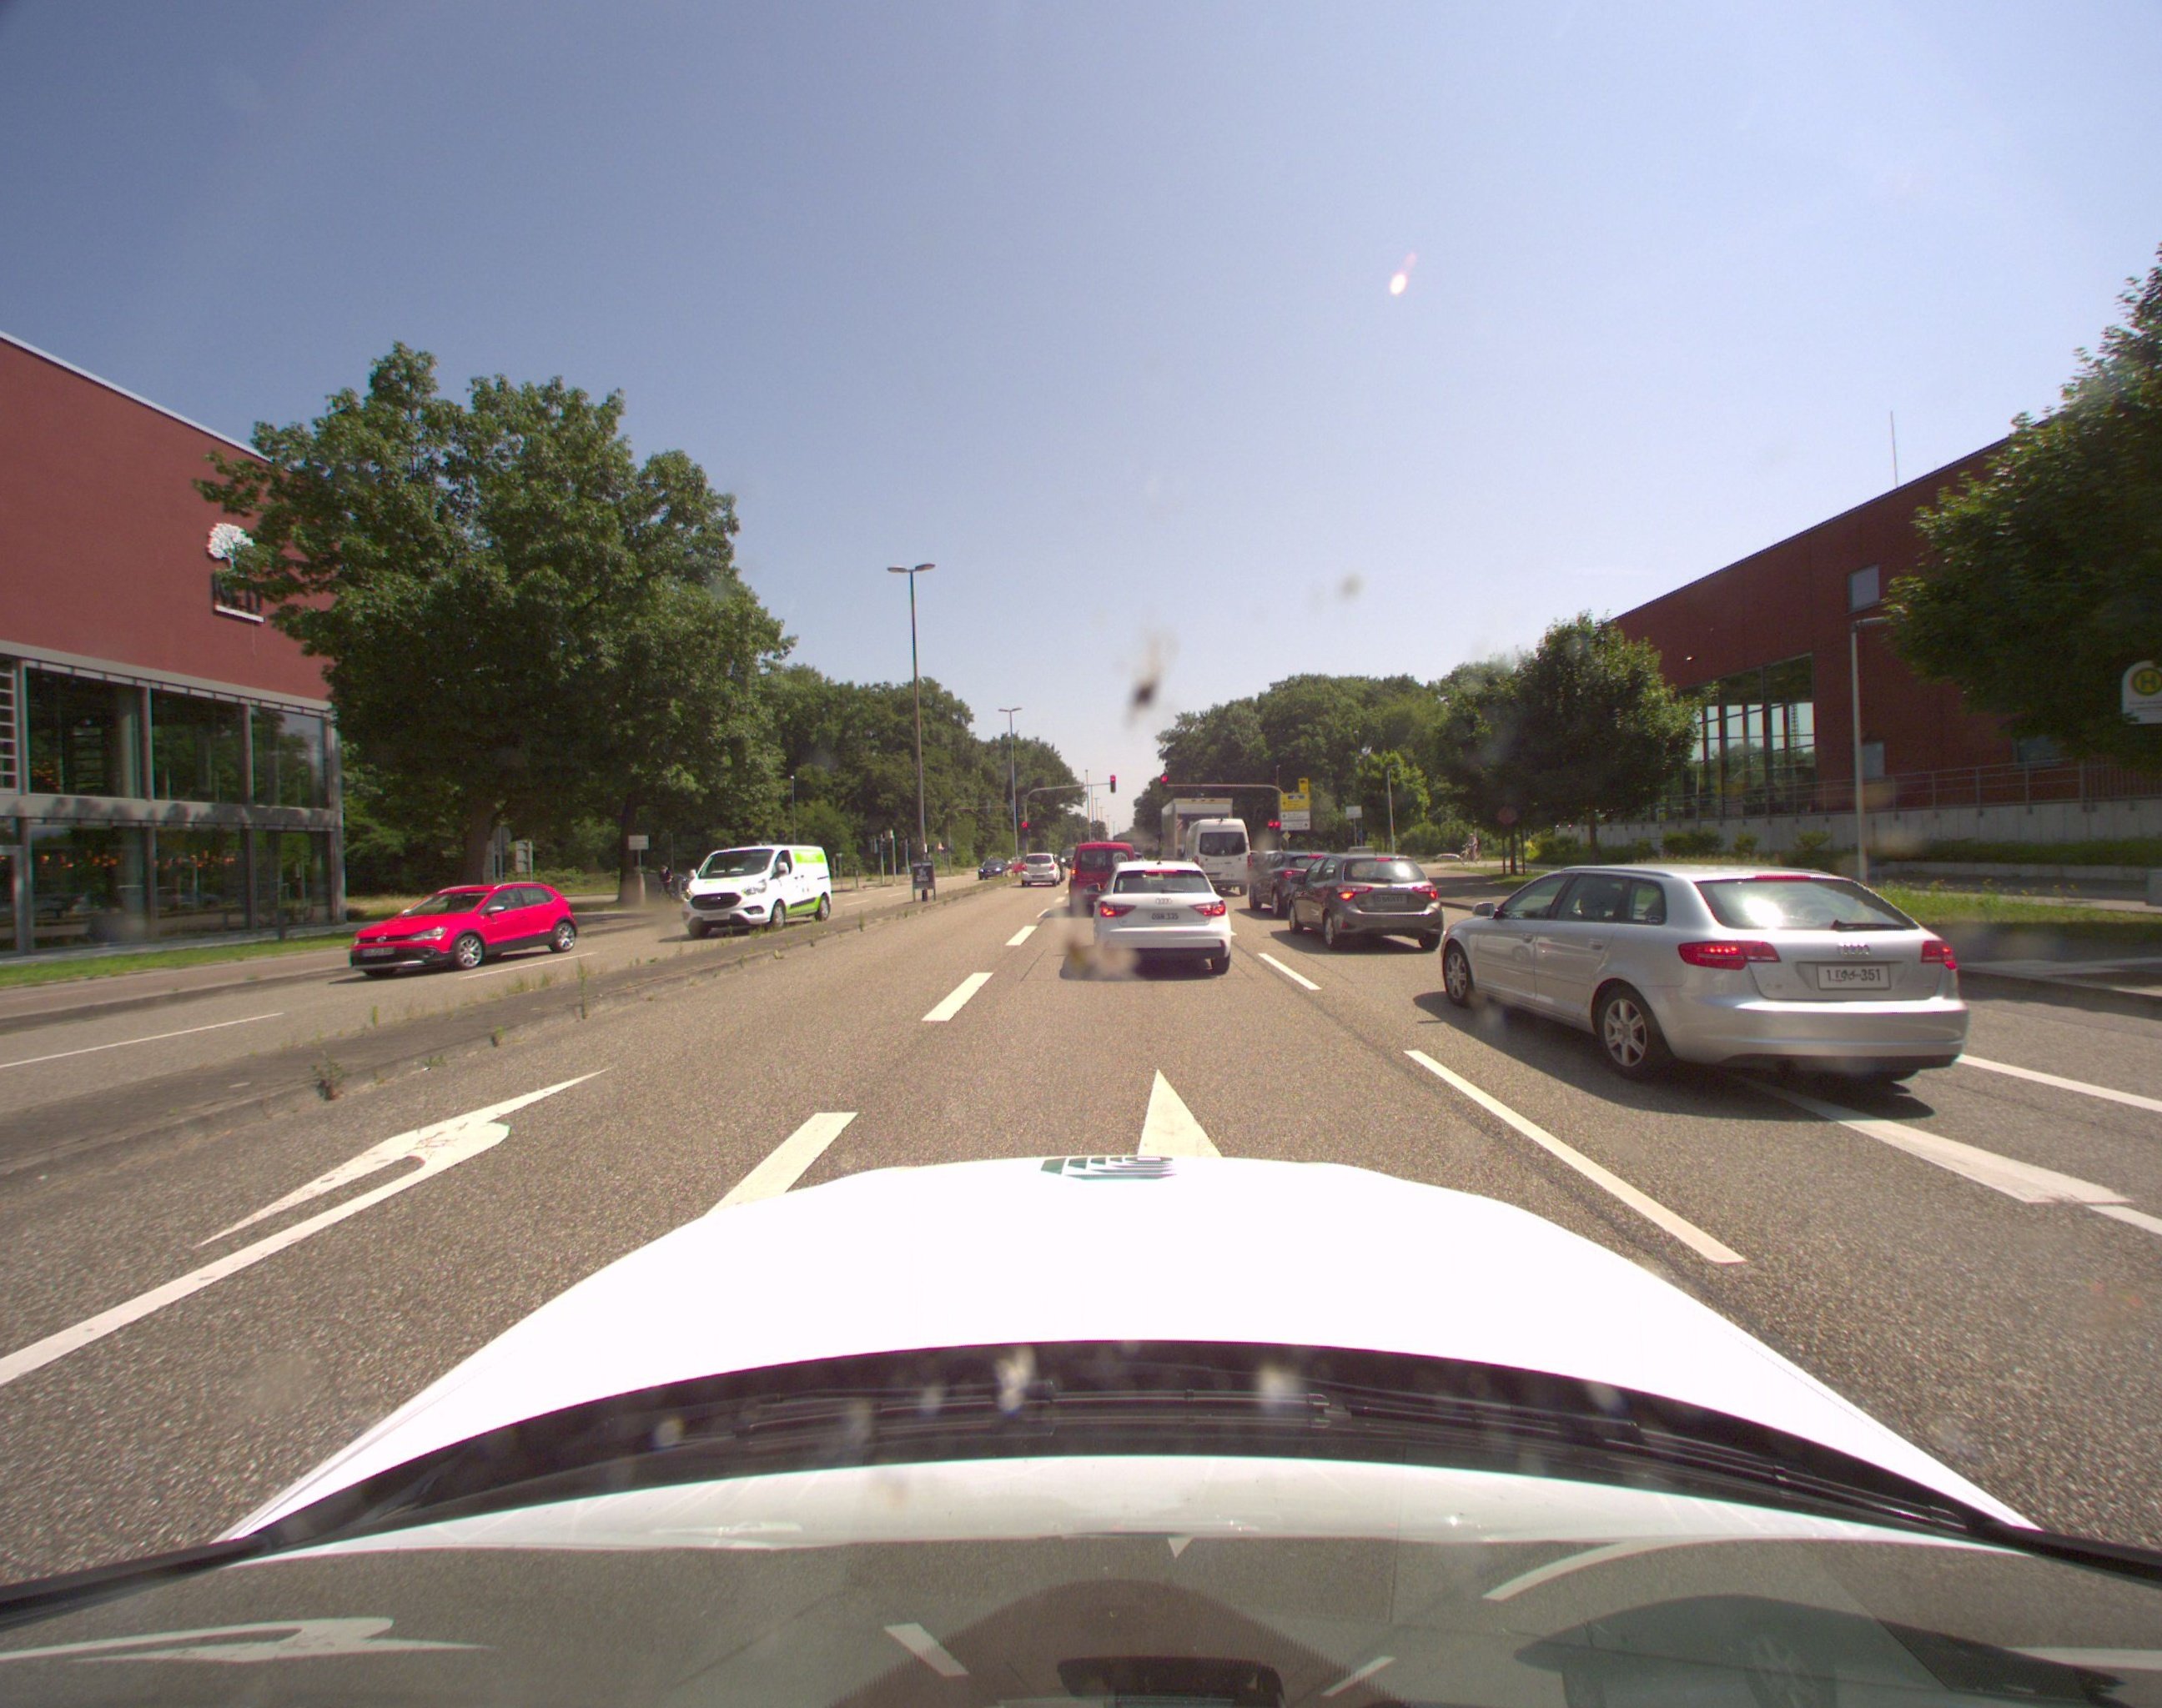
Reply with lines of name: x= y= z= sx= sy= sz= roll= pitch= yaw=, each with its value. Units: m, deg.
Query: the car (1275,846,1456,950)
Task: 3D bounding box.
car: x=4.654 y=0.643 z=13.971 sx=1.706 sy=1.478 sz=4.092 roll=2 pitch=0 yaw=1

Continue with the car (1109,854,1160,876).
car: x=4.537 y=0.919 z=68.915 sx=3.949 sy=1.689 sz=1.890 roll=-2 pitch=0 yaw=42

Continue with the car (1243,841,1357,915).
car: x=5.208 y=0.530 z=19.887 sx=1.706 sy=1.593 sz=4.092 roll=-1 pitch=0 yaw=1

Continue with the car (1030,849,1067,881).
car: x=-1.759 y=0.581 z=44.603 sx=1.768 sy=1.641 sz=4.037 roll=-1 pitch=0 yaw=1

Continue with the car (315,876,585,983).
car: x=-11.253 y=1.255 z=14.937 sx=1.699 sy=1.452 sz=3.893 roll=-5 pitch=0 yaw=2

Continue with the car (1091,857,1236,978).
car: x=1.017 y=0.757 z=11.733 sx=1.706 sy=1.386 sz=4.092 roll=-1 pitch=0 yaw=1

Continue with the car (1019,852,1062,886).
car: x=-1.861 y=0.677 z=38.523 sx=1.706 sy=1.492 sz=4.092 roll=-1 pitch=0 yaw=1

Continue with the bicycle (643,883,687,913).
bicycle: x=-16.316 y=1.719 z=32.010 sx=0.652 sy=1.051 sz=1.886 roll=-2 pitch=0 yaw=2

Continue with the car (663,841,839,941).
car: x=-7.622 y=0.760 z=19.464 sx=1.986 sy=1.945 sz=4.909 roll=-4 pitch=0 yaw=1

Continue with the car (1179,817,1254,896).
car: x=4.861 y=0.084 z=29.825 sx=2.023 sy=2.644 sz=4.847 roll=-1 pitch=0 yaw=2

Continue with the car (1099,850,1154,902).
car: x=1.488 y=0.699 z=27.957 sx=1.706 sy=1.631 sz=4.092 roll=-1 pitch=0 yaw=1

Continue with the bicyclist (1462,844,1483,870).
bicyclist: x=22.033 y=0.162 z=45.867 sx=0.828 sy=1.439 sz=0.596 roll=-2 pitch=0 yaw=-15

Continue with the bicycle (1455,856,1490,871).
bicycle: x=22.060 y=0.506 z=45.880 sx=1.826 sy=0.766 sz=0.597 roll=-2 pitch=0 yaw=-17

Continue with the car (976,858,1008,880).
car: x=-6.245 y=1.008 z=57.787 sx=1.673 sy=1.339 sz=4.000 roll=-5 pitch=0 yaw=1

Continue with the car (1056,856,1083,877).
car: x=-1.177 y=1.225 z=81.616 sx=1.994 sy=2.013 sz=3.985 roll=-2 pitch=0 yaw=-11

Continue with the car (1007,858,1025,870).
car: x=-8.118 y=1.244 z=102.691 sx=1.711 sy=1.262 sz=4.303 roll=-4 pitch=0 yaw=2

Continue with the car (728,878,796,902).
car: x=-23.758 y=2.645 z=60.797 sx=4.364 sy=1.681 sz=1.807 roll=0 pitch=-1 yaw=-6

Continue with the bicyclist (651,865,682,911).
bicyclist: x=-16.311 y=1.316 z=32.061 sx=0.647 sy=1.770 sz=0.928 roll=-2 pitch=0 yaw=2

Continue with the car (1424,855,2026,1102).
car: x=4.455 y=0.697 z=6.591 sx=1.706 sy=1.362 sz=4.092 roll=0 pitch=0 yaw=1

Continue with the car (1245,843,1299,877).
car: x=9.253 y=0.297 z=39.781 sx=1.706 sy=1.546 sz=4.092 roll=-1 pitch=0 yaw=1

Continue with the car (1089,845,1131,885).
car: x=1.252 y=0.456 z=35.750 sx=1.706 sy=1.631 sz=4.092 roll=-1 pitch=0 yaw=1

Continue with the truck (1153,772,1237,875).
truck: x=5.467 y=-1.333 z=41.100 sx=3.076 sy=4.434 sz=11.587 roll=-1 pitch=0 yaw=2

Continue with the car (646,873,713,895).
car: x=-31.501 y=2.330 z=64.024 sx=4.369 sy=1.681 sz=1.805 roll=0 pitch=-1 yaw=-9

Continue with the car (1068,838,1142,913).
car: x=0.602 y=0.499 z=21.258 sx=1.706 sy=1.748 sz=4.092 roll=-1 pitch=0 yaw=1
